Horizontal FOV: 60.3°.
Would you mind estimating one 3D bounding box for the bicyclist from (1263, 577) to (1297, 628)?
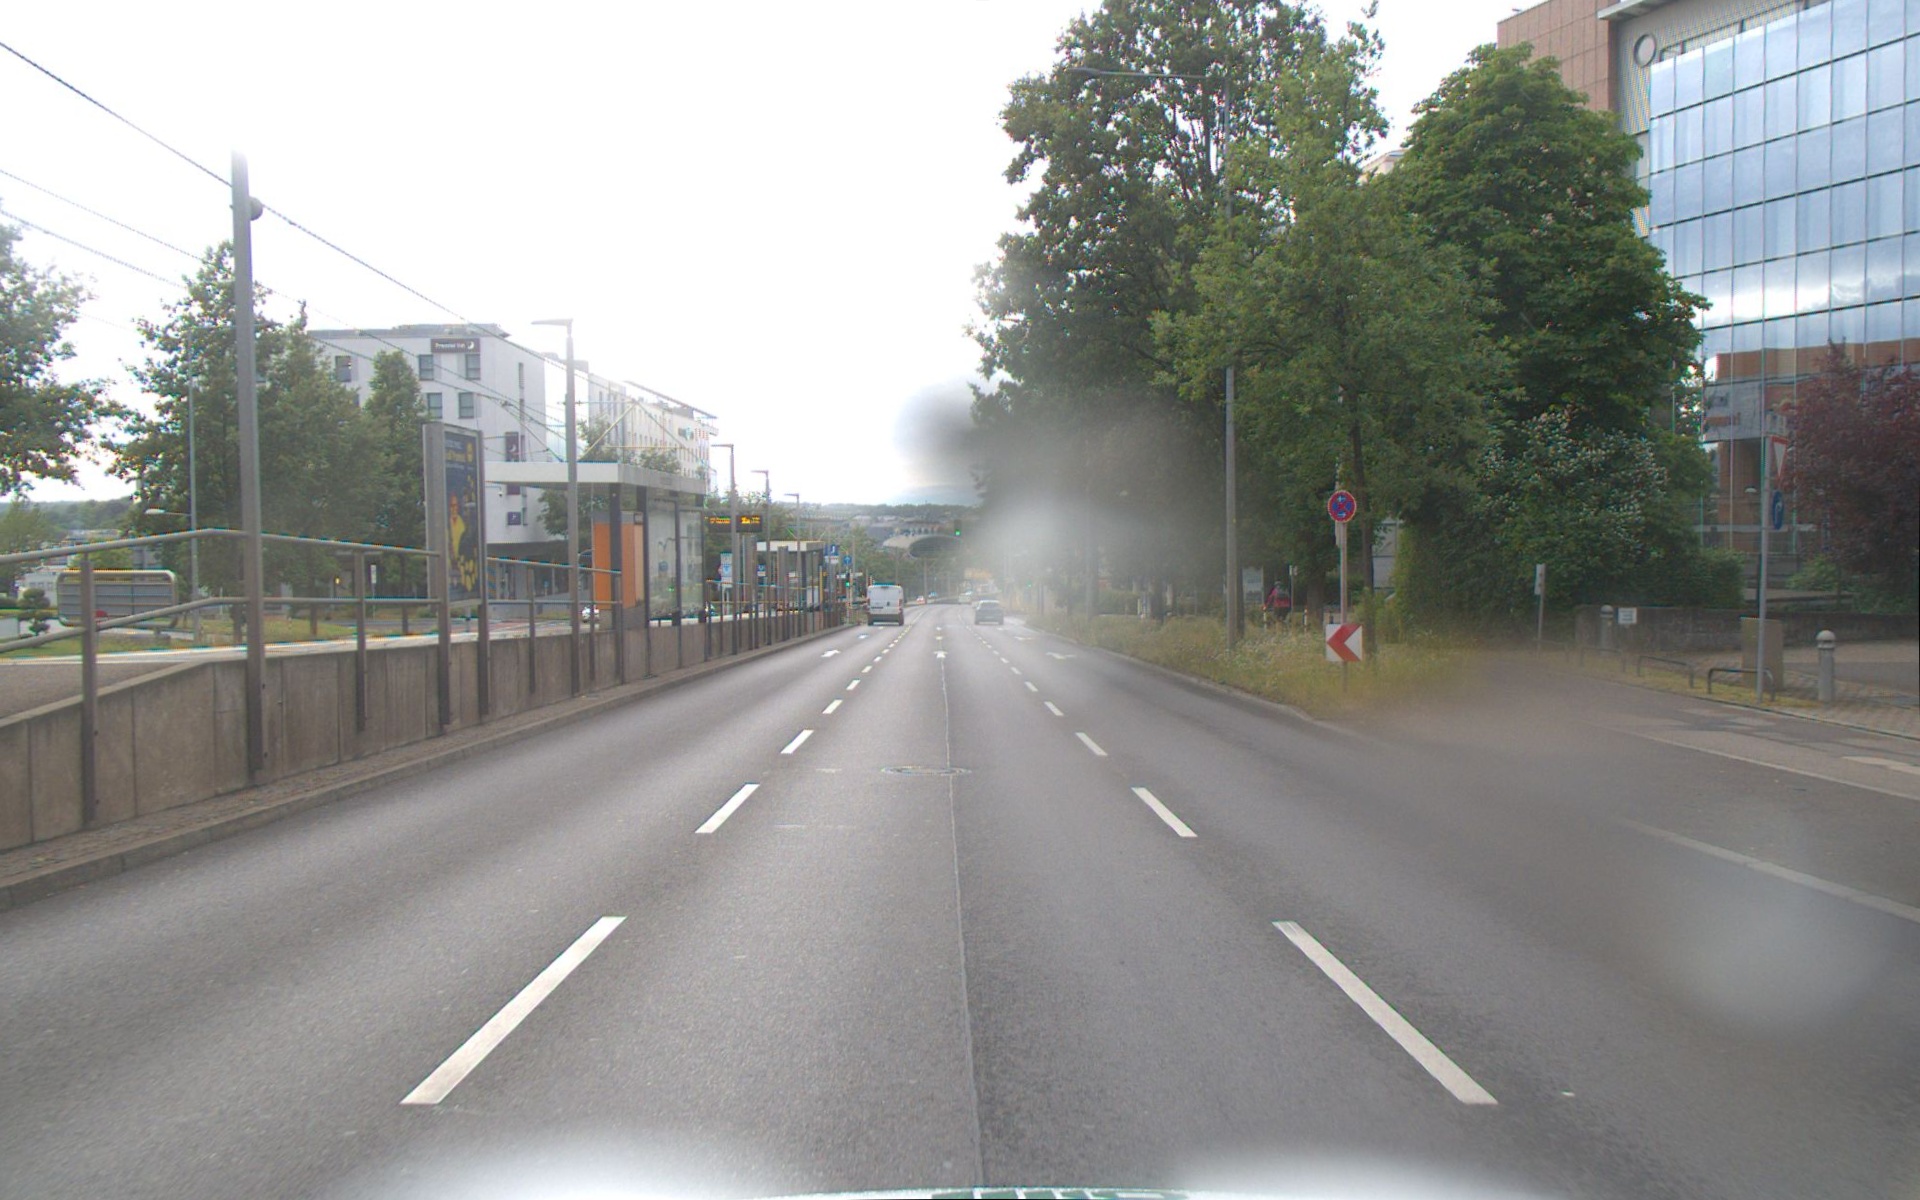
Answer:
[{"bbox_3d":[8.561,0.071,44.261,0.642,1.311,1.219,1,0,-1],"label":"bicyclist"}]

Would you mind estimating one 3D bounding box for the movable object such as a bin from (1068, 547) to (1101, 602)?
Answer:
[{"bbox_3d":[13.594,-2.777,181.633,3.221,5.784,8.766,1,0,2],"label":"movable object such as a bin"}]

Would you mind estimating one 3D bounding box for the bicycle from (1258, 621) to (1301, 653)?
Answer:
[{"bbox_3d":[8.536,0.977,44.239,0.654,0.823,2.318,1,0,-1],"label":"bicycle"}]

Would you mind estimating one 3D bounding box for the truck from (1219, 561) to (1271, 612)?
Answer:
[{"bbox_3d":[14.585,-0.670,84.767,1.712,2.562,3.996,1,0,-4],"label":"truck"}]

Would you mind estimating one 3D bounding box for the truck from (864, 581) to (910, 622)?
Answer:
[{"bbox_3d":[-4.141,0.098,95.220,2.311,2.301,5.306,1,0,1],"label":"truck"}]

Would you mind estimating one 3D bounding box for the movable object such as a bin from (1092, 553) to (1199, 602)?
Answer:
[{"bbox_3d":[21.590,-2.632,192.996,11.892,5.353,3.789,-1,-1,0],"label":"movable object such as a bin"}]

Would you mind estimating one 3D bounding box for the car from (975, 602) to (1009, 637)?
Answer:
[{"bbox_3d":[1.956,1.181,100.538,1.952,2.049,3.935,1,0,3],"label":"car"}]
